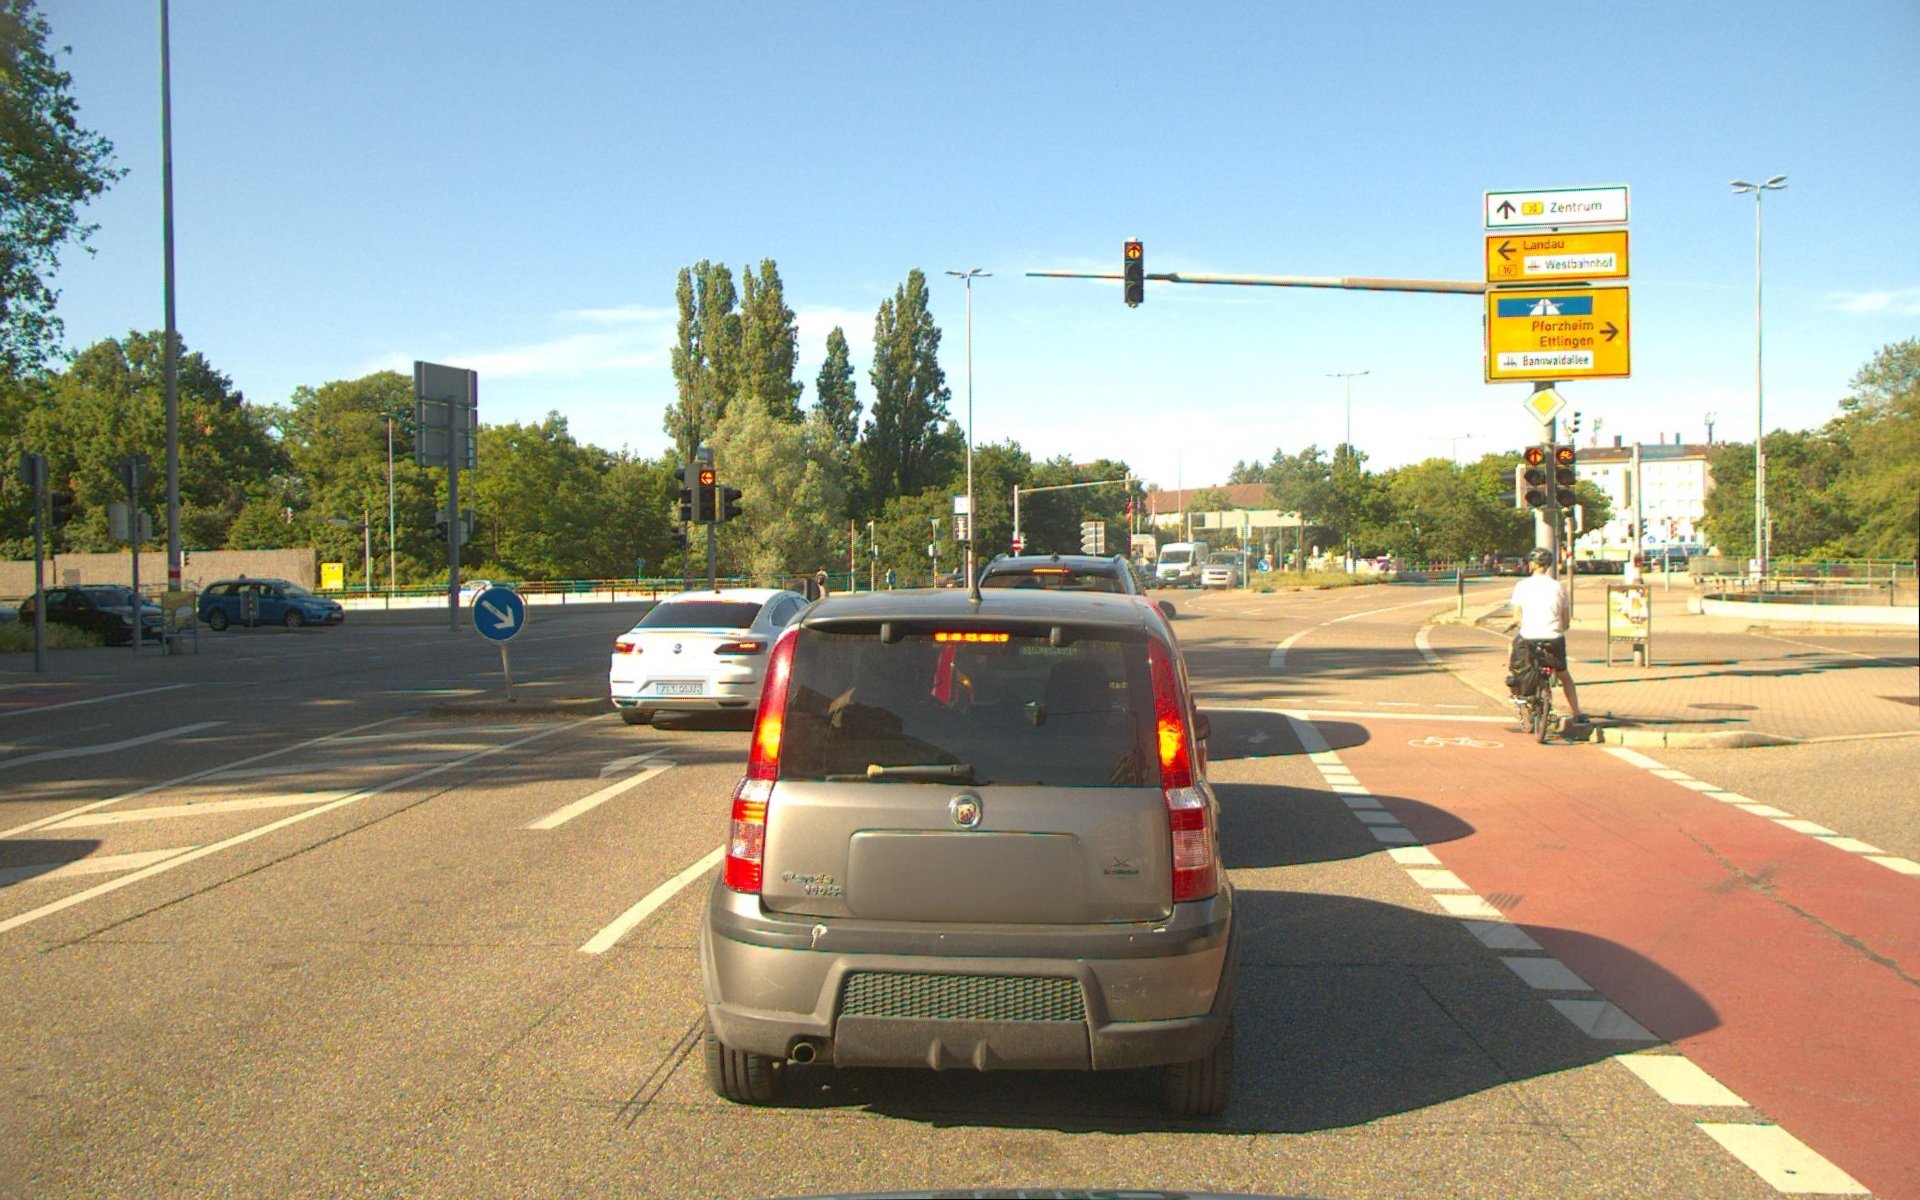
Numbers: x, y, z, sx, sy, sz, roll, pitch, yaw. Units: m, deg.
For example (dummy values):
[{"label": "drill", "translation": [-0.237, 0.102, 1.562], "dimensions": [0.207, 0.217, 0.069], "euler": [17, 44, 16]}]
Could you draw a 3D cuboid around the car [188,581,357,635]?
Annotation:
[{"label": "car", "translation": [-20.759, 0.235, 49.986], "dimensions": [4.348, 1.567, 1.953], "euler": [-1, 1, 13]}]

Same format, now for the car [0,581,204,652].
[{"label": "car", "translation": [-21.055, 0.390, 40.218], "dimensions": [4.668, 1.649, 1.953], "euler": [0, 1, 15]}]

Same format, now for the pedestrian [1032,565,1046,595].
[{"label": "pedestrian", "translation": [4.281, -1.089, 89.251], "dimensions": [0.547, 1.574, 0.573], "euler": [-2, 0, -16]}]

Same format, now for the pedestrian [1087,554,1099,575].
[{"label": "pedestrian", "translation": [10.611, -2.816, 132.166], "dimensions": [0.706, 1.670, 0.672], "euler": [1, -1, 24]}]

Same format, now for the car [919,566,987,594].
[{"label": "car", "translation": [-0.430, -1.255, 104.133], "dimensions": [3.961, 1.653, 1.874], "euler": [1, 0, -39]}]

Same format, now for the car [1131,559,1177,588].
[{"label": "car", "translation": [11.603, -1.607, 98.521], "dimensions": [1.773, 1.568, 4.619], "euler": [-2, 1, 18]}]

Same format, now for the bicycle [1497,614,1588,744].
[{"label": "bicycle", "translation": [5.672, 0.735, 16.188], "dimensions": [0.676, 1.121, 1.828], "euler": [1, 1, 14]}]

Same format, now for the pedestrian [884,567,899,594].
[{"label": "pedestrian", "translation": [-4.150, -1.190, 100.226], "dimensions": [0.698, 1.574, 0.725], "euler": [-2, -2, -16]}]

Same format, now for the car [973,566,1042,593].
[{"label": "car", "translation": [2.935, -1.305, 102.061], "dimensions": [4.292, 1.562, 1.758], "euler": [-2, 3, -42]}]

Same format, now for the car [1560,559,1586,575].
[{"label": "car", "translation": [59.742, -3.227, 161.196], "dimensions": [1.908, 1.555, 4.092], "euler": [0, 1, 28]}]

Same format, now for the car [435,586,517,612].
[{"label": "car", "translation": [-28.069, -0.075, 95.889], "dimensions": [4.410, 1.406, 1.787], "euler": [0, 1, 21]}]

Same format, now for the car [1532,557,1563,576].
[{"label": "car", "translation": [49.545, -2.867, 139.466], "dimensions": [1.908, 1.555, 4.092], "euler": [0, 1, 28]}]

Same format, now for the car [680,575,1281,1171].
[{"label": "car", "translation": [0.195, 0.699, 6.305], "dimensions": [1.583, 1.542, 3.822], "euler": [-1, 1, 4]}]

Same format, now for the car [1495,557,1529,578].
[{"label": "car", "translation": [42.422, -2.517, 127.025], "dimensions": [1.907, 1.555, 4.093], "euler": [0, 1, 27]}]

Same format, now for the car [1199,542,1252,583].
[{"label": "car", "translation": [13.972, -1.978, 86.979], "dimensions": [1.896, 2.043, 4.933], "euler": [0, 1, 19]}]

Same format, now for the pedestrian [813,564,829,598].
[{"label": "pedestrian", "translation": [-6.281, -0.862, 74.693], "dimensions": [0.666, 1.488, 0.702], "euler": [-1, 1, -7]}]

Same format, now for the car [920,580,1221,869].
[{"label": "car", "translation": [0.730, 0.645, 10.658], "dimensions": [1.583, 1.488, 3.753], "euler": [-1, 1, 4]}]

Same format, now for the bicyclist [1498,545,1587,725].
[{"label": "bicyclist", "translation": [5.652, 0.312, 16.105], "dimensions": [0.708, 1.688, 1.114], "euler": [1, 1, 14]}]

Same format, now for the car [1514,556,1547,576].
[{"label": "car", "translation": [45.905, -2.740, 133.040], "dimensions": [1.908, 1.555, 4.093], "euler": [0, 1, 27]}]

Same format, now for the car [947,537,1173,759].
[{"label": "car", "translation": [1.107, 0.369, 16.163], "dimensions": [1.904, 1.872, 4.156], "euler": [-1, 1, 7]}]

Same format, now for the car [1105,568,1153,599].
[{"label": "car", "translation": [9.433, -0.937, 91.887], "dimensions": [1.896, 1.534, 4.003], "euler": [-2, 1, 17]}]

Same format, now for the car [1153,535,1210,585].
[{"label": "car", "translation": [12.200, -2.196, 90.940], "dimensions": [1.896, 2.621, 6.091], "euler": [0, 1, 19]}]

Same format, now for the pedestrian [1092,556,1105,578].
[{"label": "pedestrian", "translation": [10.708, -2.570, 128.037], "dimensions": [0.777, 1.693, 0.626], "euler": [0, -1, 40]}]

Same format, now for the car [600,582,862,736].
[{"label": "car", "translation": [-2.383, 0.552, 18.361], "dimensions": [1.742, 1.439, 4.323], "euler": [0, 1, 8]}]

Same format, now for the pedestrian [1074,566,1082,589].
[{"label": "pedestrian", "translation": [9.162, -1.736, 128.634], "dimensions": [0.488, 1.731, 0.500], "euler": [1, -1, 24]}]

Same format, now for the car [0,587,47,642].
[{"label": "car", "translation": [-26.391, 0.373, 43.520], "dimensions": [4.404, 1.381, 1.879], "euler": [0, 1, 24]}]

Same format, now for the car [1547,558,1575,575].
[{"label": "car", "translation": [55.680, -3.103, 153.126], "dimensions": [1.908, 1.555, 4.092], "euler": [0, 1, 28]}]
